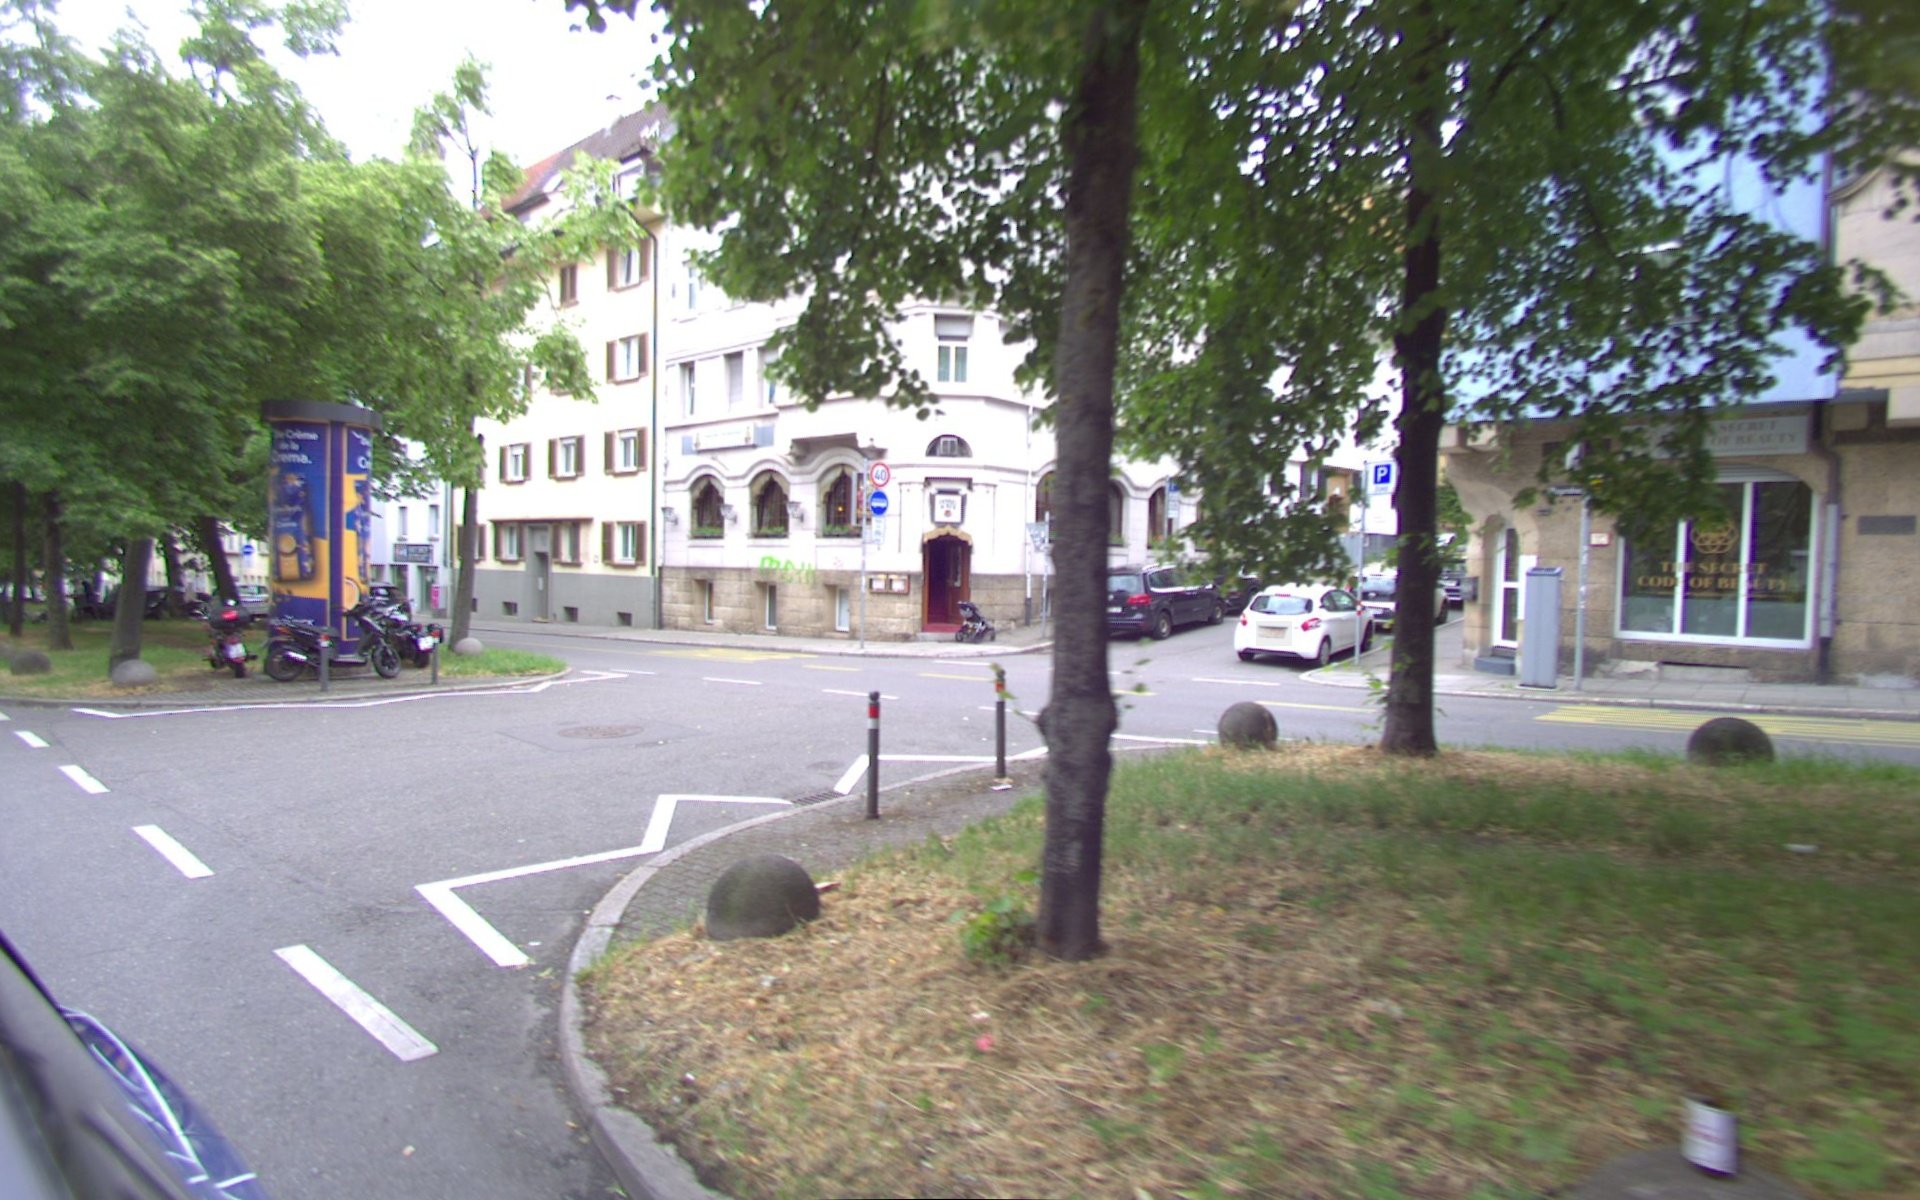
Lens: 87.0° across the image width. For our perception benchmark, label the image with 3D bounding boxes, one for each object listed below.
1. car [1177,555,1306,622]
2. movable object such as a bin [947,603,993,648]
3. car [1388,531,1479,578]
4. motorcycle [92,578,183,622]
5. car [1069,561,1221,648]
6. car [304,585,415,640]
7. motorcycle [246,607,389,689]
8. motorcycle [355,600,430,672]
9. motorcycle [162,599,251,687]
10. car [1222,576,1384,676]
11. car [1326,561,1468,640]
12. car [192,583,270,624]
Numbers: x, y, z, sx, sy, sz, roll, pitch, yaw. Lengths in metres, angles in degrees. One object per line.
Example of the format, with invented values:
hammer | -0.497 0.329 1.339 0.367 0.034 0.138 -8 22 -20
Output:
car | 8.034 -0.381 28.702 1.801 1.521 3.943 1 6 45
movable object such as a bin | 0.242 0.594 24.002 0.668 1.001 0.877 1 3 40
car | 18.025 -1.762 38.457 3.942 1.521 1.802 -7 6 -43
motorcycle | -29.489 0.002 36.318 0.963 1.494 2.392 3 1 41
car | 4.601 0.043 24.820 1.871 1.712 3.956 1 6 42
car | -18.575 0.355 31.234 4.416 1.575 1.794 0 0 43
motorcycle | -9.496 0.676 15.005 0.551 1.104 1.711 3 3 45
motorcycle | -9.662 0.581 17.194 0.740 1.081 1.854 -1 3 -42
motorcycle | -11.447 0.601 15.344 0.875 1.104 2.485 -1 3 -42
car | 6.969 0.421 20.354 1.869 1.480 3.960 3 7 38
car | 10.581 -0.055 24.333 1.966 1.480 4.098 1 6 41
car | -29.629 0.111 41.083 4.254 1.575 1.794 0 0 43
